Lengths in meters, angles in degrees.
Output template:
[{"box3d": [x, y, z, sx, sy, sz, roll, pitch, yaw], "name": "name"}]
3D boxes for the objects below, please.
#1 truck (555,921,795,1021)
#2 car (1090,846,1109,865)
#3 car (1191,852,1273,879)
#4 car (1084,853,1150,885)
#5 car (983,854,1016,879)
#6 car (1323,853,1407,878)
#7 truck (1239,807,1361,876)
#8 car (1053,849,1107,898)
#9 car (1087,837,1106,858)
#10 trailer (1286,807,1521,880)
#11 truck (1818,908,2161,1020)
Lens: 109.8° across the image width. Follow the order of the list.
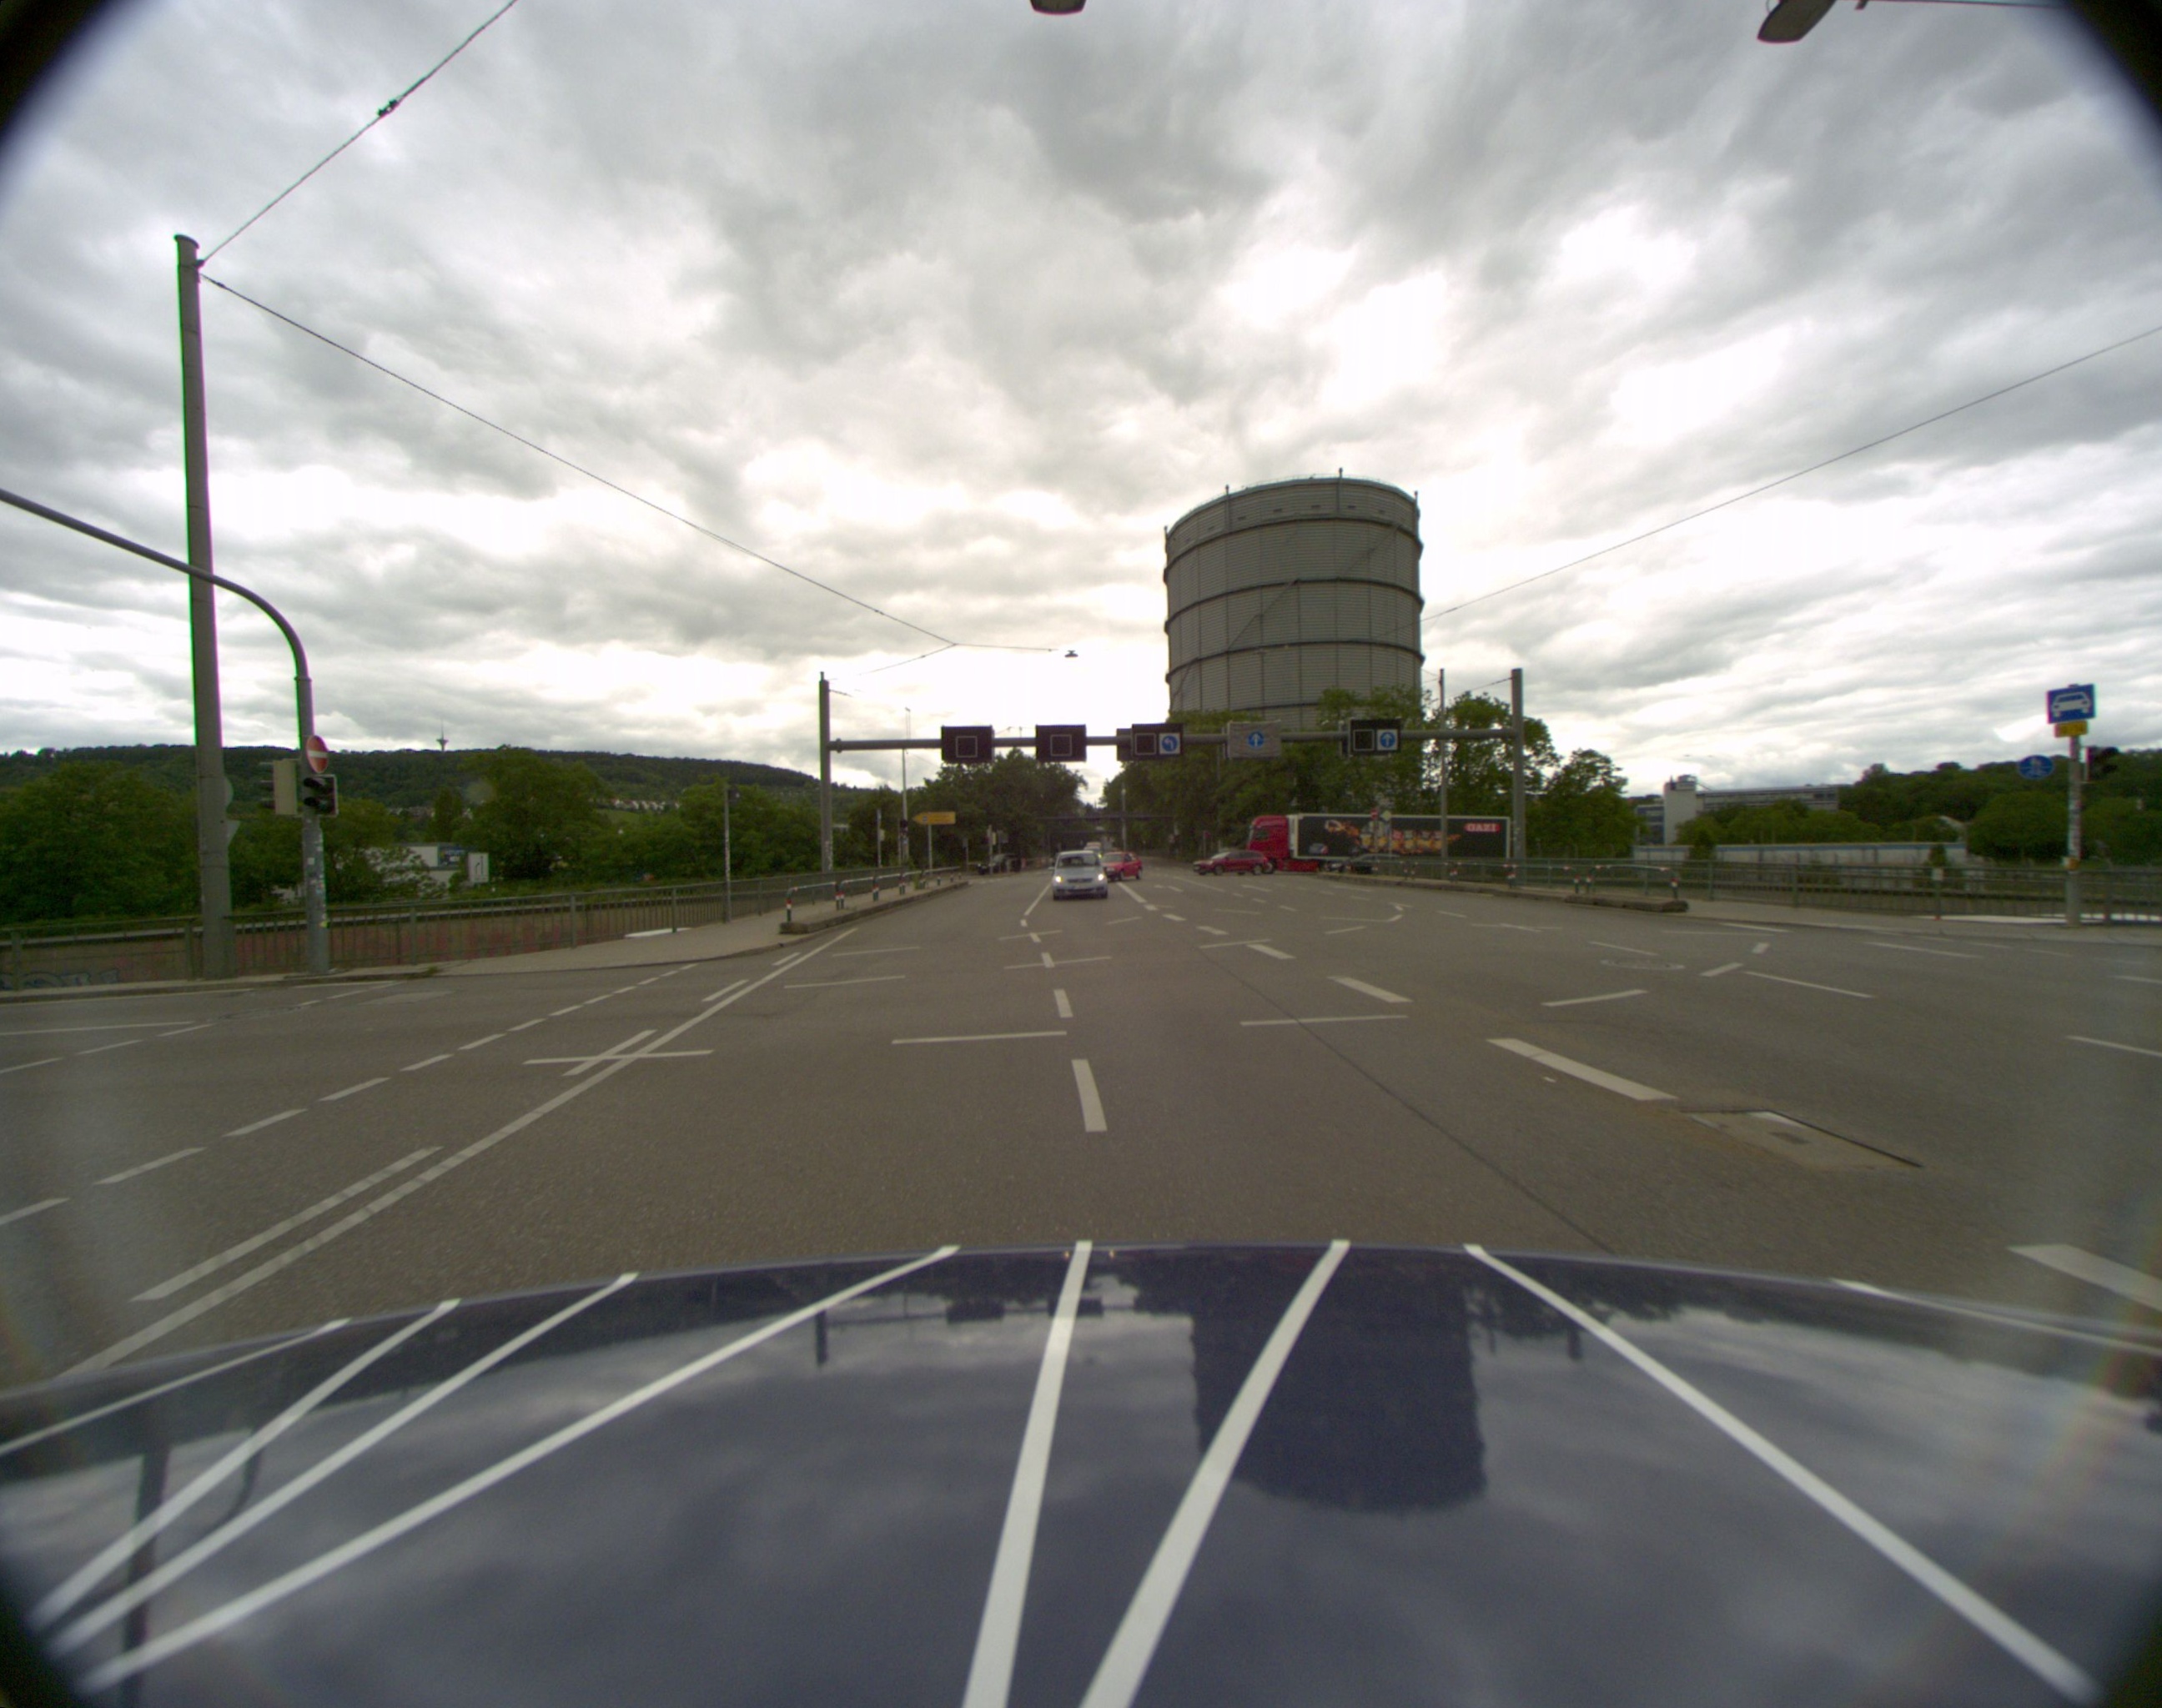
[{"box3d": [-19.690, 5.662, 37.300, 10.017, 4.162, 2.901, -1, 3, 0], "name": "truck"}, {"box3d": [2.009, 0.176, 83.526, 1.933, 1.987, 4.452, 0, 0, 0], "name": "car"}, {"box3d": [8.863, 0.675, 44.581, 4.472, 1.412, 1.694, -2, 0, -21], "name": "car"}, {"box3d": [1.858, 0.723, 37.916, 1.744, 1.455, 3.962, -2, 0, 28], "name": "car"}, {"box3d": [-7.099, 1.030, 66.841, 2.331, 1.905, 4.946, 0, 3, 0], "name": "car"}, {"box3d": [17.259, 0.708, 46.253, 4.463, 1.412, 1.698, 1, 1, 3], "name": "car"}, {"box3d": [14.430, -0.816, 50.677, 7.226, 4.296, 3.673, 1, 1, 7], "name": "truck"}, {"box3d": [-0.089, 0.636, 26.697, 1.747, 1.594, 3.681, -1, 0, -2], "name": "car"}, {"box3d": [1.903, -0.831, 96.024, 2.331, 2.509, 4.948, 1, 1, 0], "name": "car"}, {"box3d": [20.920, -0.684, 50.198, 13.766, 4.296, 3.672, 1, 1, 4], "name": "trailer"}, {"box3d": [40.590, 4.713, 33.081, 13.242, 4.332, 2.891, -1, 2, 6], "name": "truck"}]
